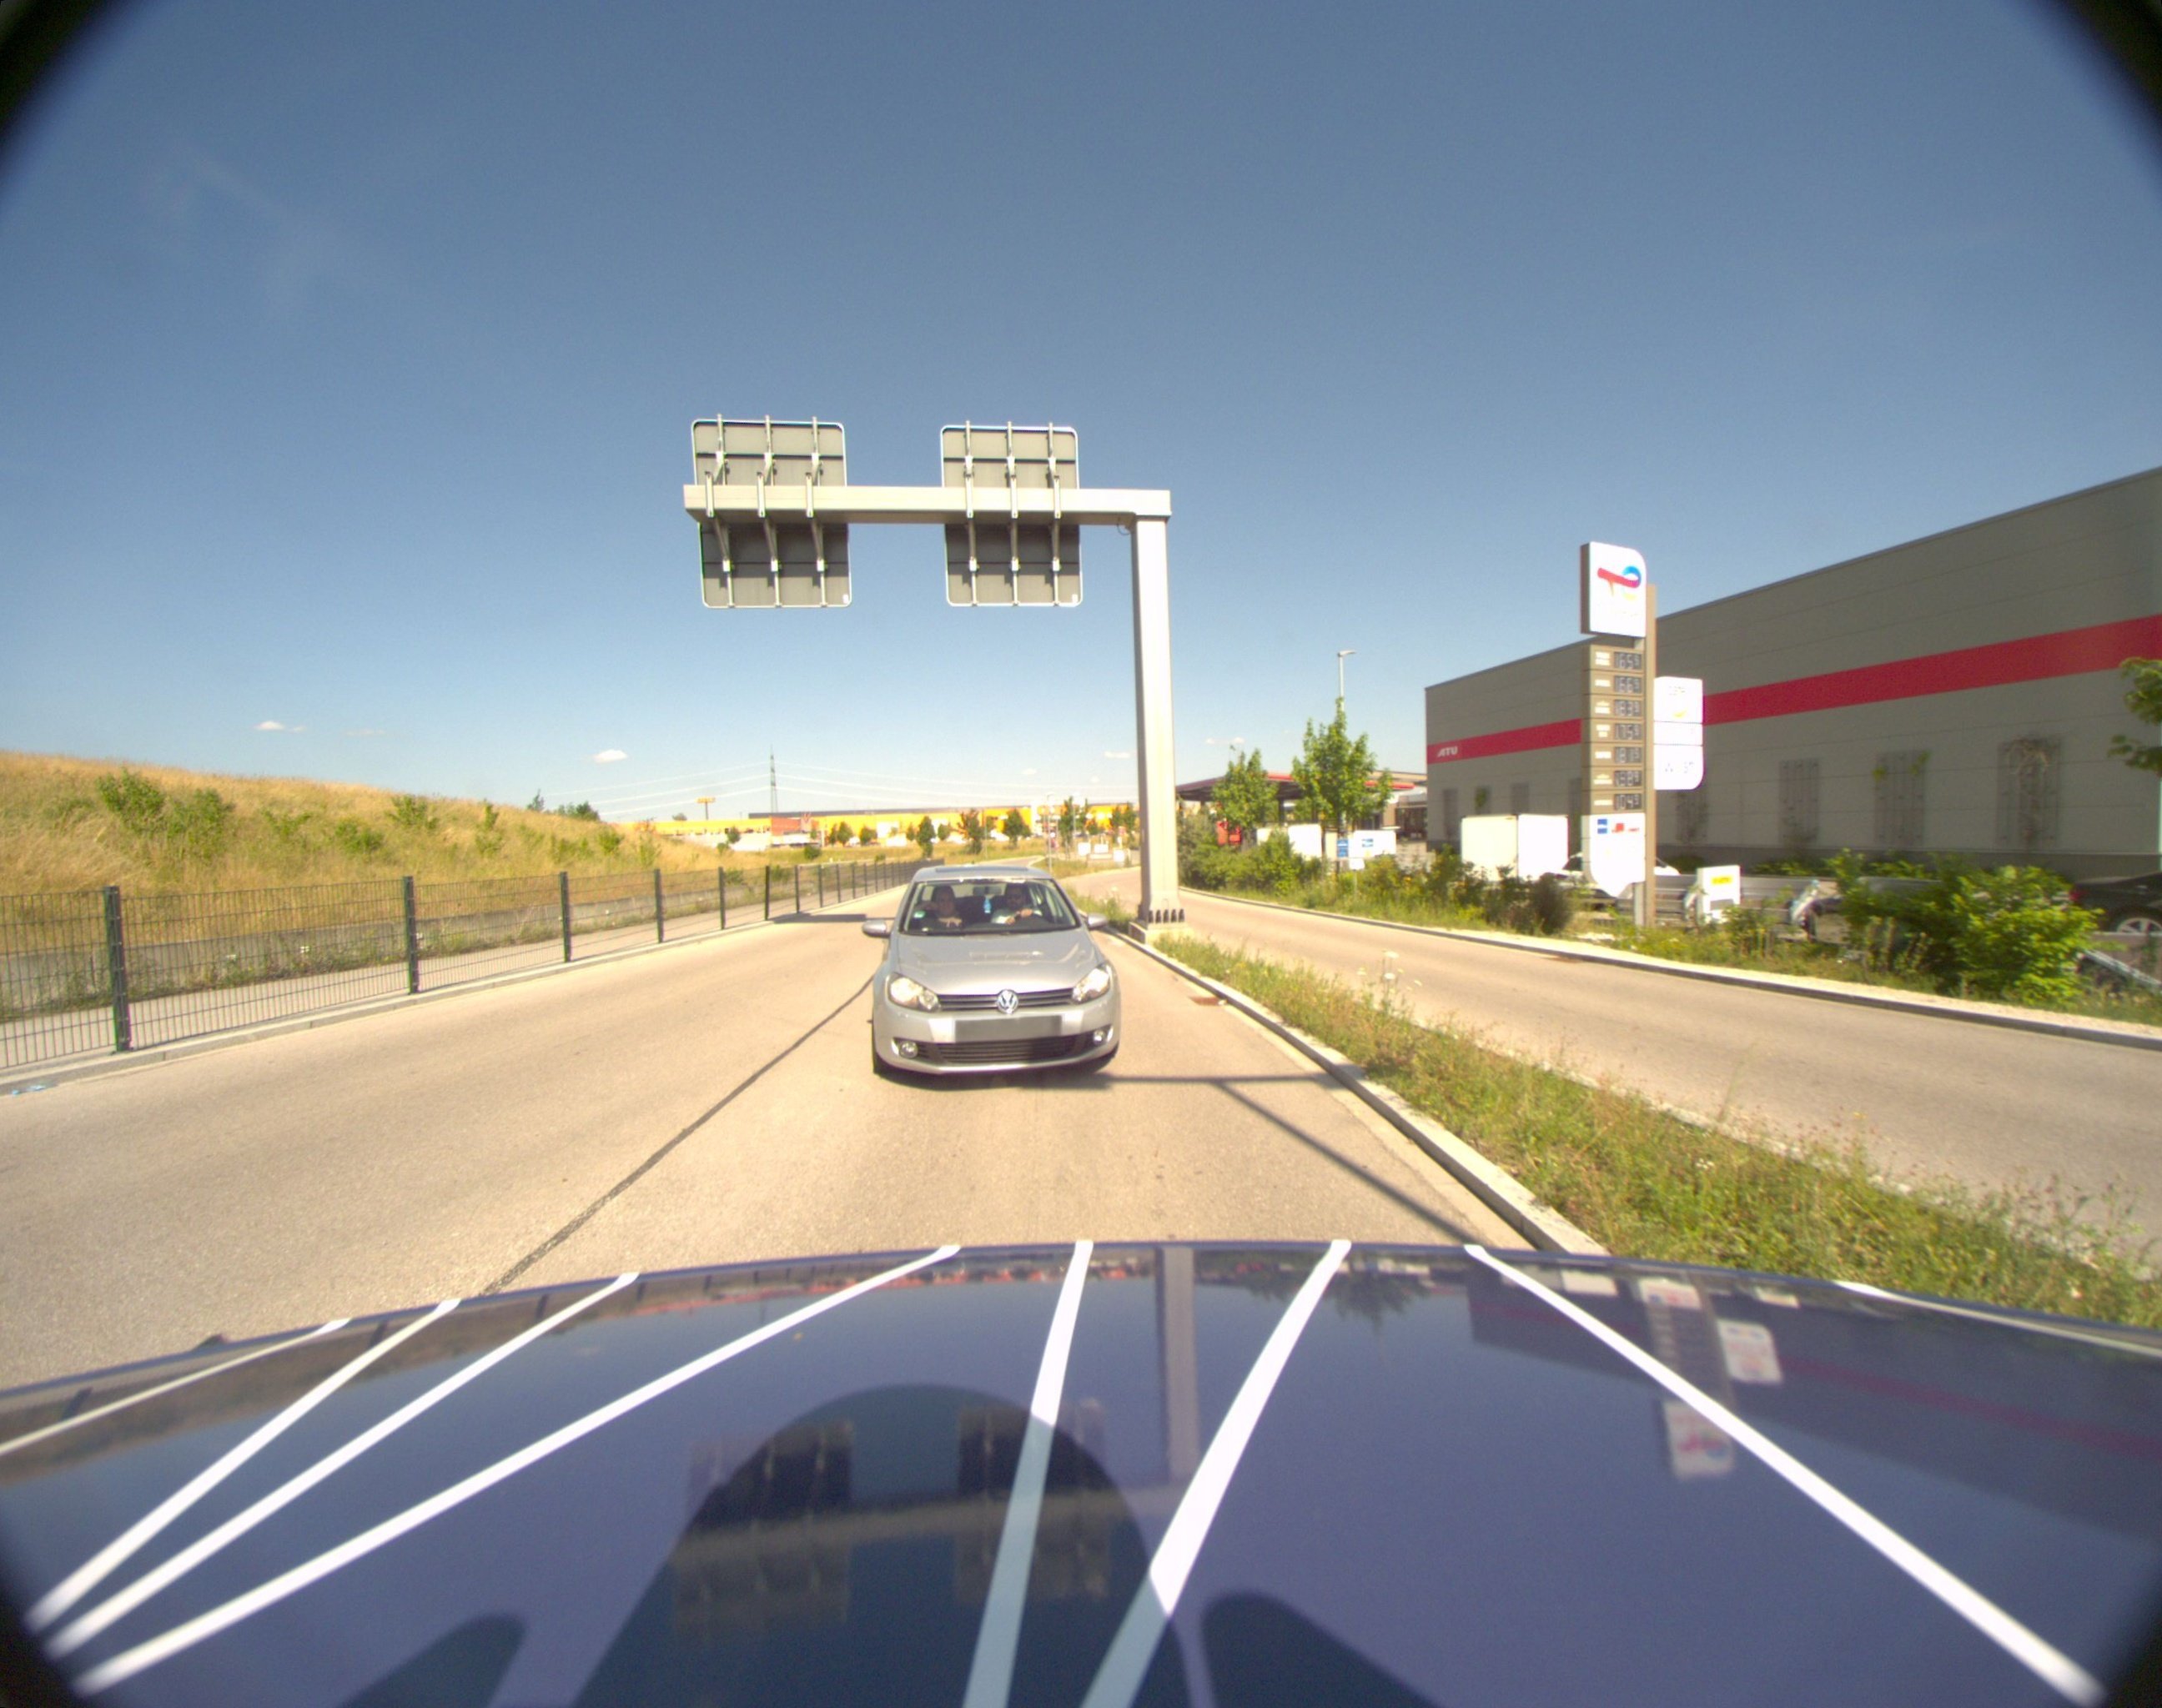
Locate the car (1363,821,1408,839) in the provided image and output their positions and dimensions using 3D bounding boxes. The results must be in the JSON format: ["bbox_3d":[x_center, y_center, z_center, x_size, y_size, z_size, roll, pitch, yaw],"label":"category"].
[{"bbox_3d":[29.692,-2.310,74.088,3.683,1.566,1.695,-3,2,0],"label":"car"}]

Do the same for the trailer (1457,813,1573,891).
[{"bbox_3d":[12.440,-0.096,21.736,3.245,2.002,1.743,-4,2,-37],"label":"trailer"}]

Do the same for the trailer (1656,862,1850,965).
[{"bbox_3d":[12.074,0.980,13.643,3.195,1.475,1.545,-3,2,-27],"label":"trailer"}]

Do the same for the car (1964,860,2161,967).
[{"bbox_3d":[17.034,0.910,11.541,1.803,1.475,4.494,-3,1,-6],"label":"car"}]

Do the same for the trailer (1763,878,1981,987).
[{"bbox_3d":[12.381,1.152,11.907,2.915,1.314,1.387,-3,2,-22],"label":"trailer"}]

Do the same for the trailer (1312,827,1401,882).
[{"bbox_3d":[10.833,-0.002,29.837,2.741,2.002,1.995,-4,2,-34],"label":"trailer"}]

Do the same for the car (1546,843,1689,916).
[{"bbox_3d":[13.652,0.575,19.270,4.006,1.527,1.714,-4,2,-36],"label":"car"}]

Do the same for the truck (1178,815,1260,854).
[{"bbox_3d":[12.769,-1.793,70.303,6.910,3.299,2.637,-3,2,-18],"label":"truck"}]

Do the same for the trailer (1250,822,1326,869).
[{"bbox_3d":[9.546,-0.407,35.018,1.994,2.002,3.212,-1,2,44],"label":"trailer"}]

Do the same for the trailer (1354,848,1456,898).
[{"bbox_3d":[11.688,0.648,27.341,3.605,1.502,1.596,-3,1,-34],"label":"trailer"}]

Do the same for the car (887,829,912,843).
[{"bbox_3d":[-35.679,-3.518,149.747,4.637,2.534,1.998,-3,2,-11],"label":"car"}]

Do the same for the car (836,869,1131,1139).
[{"bbox_3d":[-0.816,0.919,6.519,1.747,1.459,3.957,0,1,-7],"label":"car"}]

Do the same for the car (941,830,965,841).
[{"bbox_3d":[-25.535,-3.630,151.249,4.637,2.002,1.998,-3,2,-11],"label":"car"}]

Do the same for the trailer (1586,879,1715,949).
[{"bbox_3d":[11.437,1.135,15.221,2.780,1.080,1.317,-4,2,-37],"label":"trailer"}]

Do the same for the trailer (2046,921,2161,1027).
[{"bbox_3d":[13.471,1.463,9.407,2.842,0.877,1.861,-4,2,-39],"label":"trailer"}]
